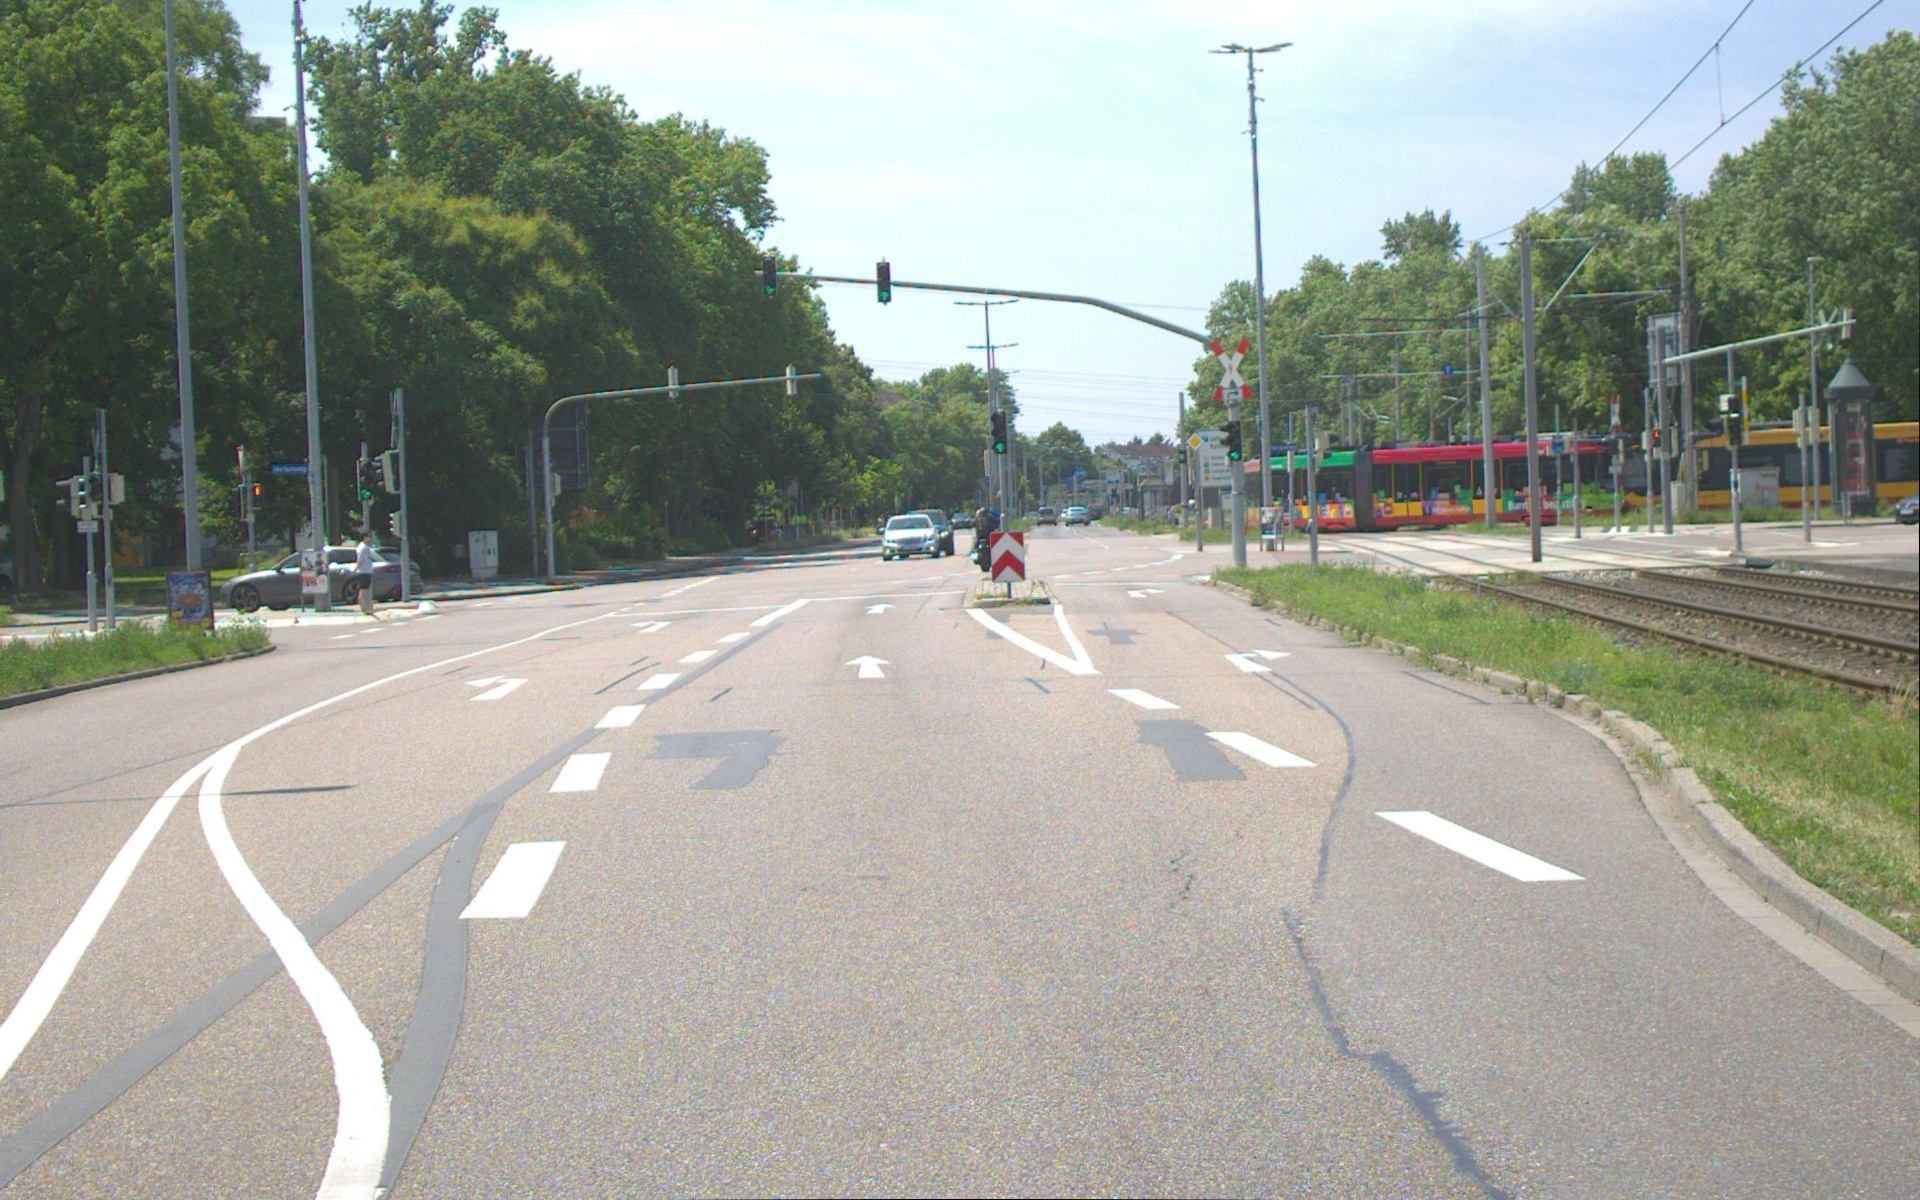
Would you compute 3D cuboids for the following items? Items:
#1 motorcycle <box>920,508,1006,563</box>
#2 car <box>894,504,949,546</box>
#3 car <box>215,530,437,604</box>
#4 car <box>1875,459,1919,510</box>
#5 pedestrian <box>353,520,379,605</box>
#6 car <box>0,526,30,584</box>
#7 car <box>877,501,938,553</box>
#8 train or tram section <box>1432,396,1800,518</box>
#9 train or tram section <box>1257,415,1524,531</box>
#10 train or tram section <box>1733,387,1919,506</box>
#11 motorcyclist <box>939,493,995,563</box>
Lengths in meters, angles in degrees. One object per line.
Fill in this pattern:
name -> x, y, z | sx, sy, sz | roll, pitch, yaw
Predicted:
motorcycle -> 0.078, -1.535, 81.512 | 0.848, 1.251, 2.444 | 0, 2, 33
car -> -1.338, -2.644, 120.817 | 1.711, 1.361, 3.865 | -2, 1, 2
car -> -14.624, -0.768, 79.343 | 4.617, 1.493, 1.912 | -2, 2, 13
car -> 29.296, -3.521, 102.843 | 3.497, 1.458, 1.640 | -4, 2, -30
pedestrian -> -11.901, -0.751, 68.846 | 0.382, 1.681, 0.486 | -2, 1, -2
car -> -31.416, -1.330, 106.903 | 1.790, 1.762, 4.538 | -1, 2, 42
car -> -1.724, -2.424, 113.435 | 1.784, 1.623, 3.865 | -2, 1, 2
train or tram section -> 24.549, -5.301, 129.408 | 13.436, 3.799, 2.918 | -2, -2, 33
train or tram section -> 17.047, -4.988, 137.637 | 2.914, 3.799, 13.073 | 0, -2, -32
train or tram section -> 35.299, -5.652, 124.304 | 14.010, 3.906, 2.921 | -1, -2, 20
motorcyclist -> 0.166, -1.713, 81.672 | 0.791, 1.637, 1.209 | 0, 1, 32
